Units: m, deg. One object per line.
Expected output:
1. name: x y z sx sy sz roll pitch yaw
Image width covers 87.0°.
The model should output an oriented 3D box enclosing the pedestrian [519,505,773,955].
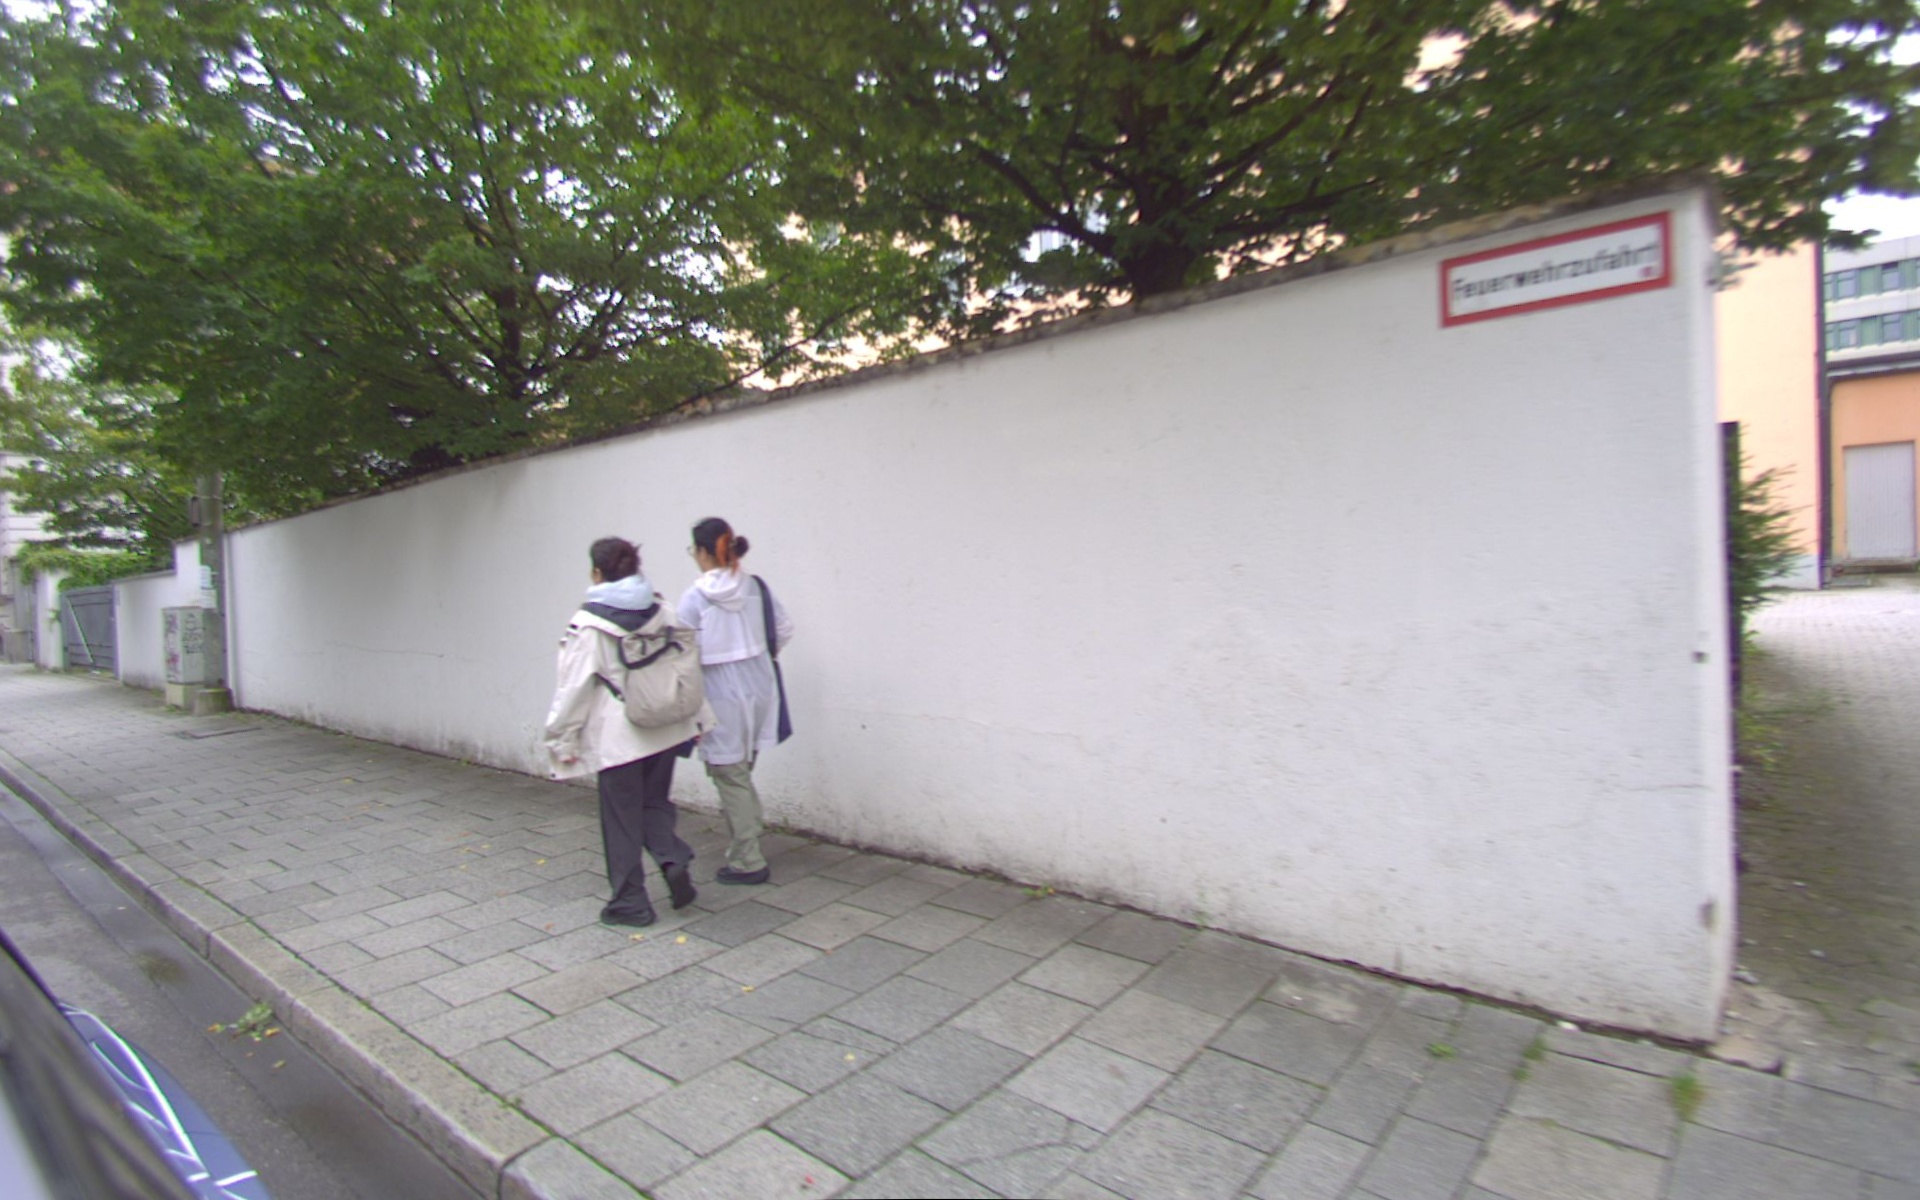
1. pedestrian: -1.246 0.448 4.023 0.713 1.590 0.616 -1 2 41

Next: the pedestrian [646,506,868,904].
1. pedestrian: -0.919 0.419 4.598 0.687 1.633 0.607 -1 3 41
